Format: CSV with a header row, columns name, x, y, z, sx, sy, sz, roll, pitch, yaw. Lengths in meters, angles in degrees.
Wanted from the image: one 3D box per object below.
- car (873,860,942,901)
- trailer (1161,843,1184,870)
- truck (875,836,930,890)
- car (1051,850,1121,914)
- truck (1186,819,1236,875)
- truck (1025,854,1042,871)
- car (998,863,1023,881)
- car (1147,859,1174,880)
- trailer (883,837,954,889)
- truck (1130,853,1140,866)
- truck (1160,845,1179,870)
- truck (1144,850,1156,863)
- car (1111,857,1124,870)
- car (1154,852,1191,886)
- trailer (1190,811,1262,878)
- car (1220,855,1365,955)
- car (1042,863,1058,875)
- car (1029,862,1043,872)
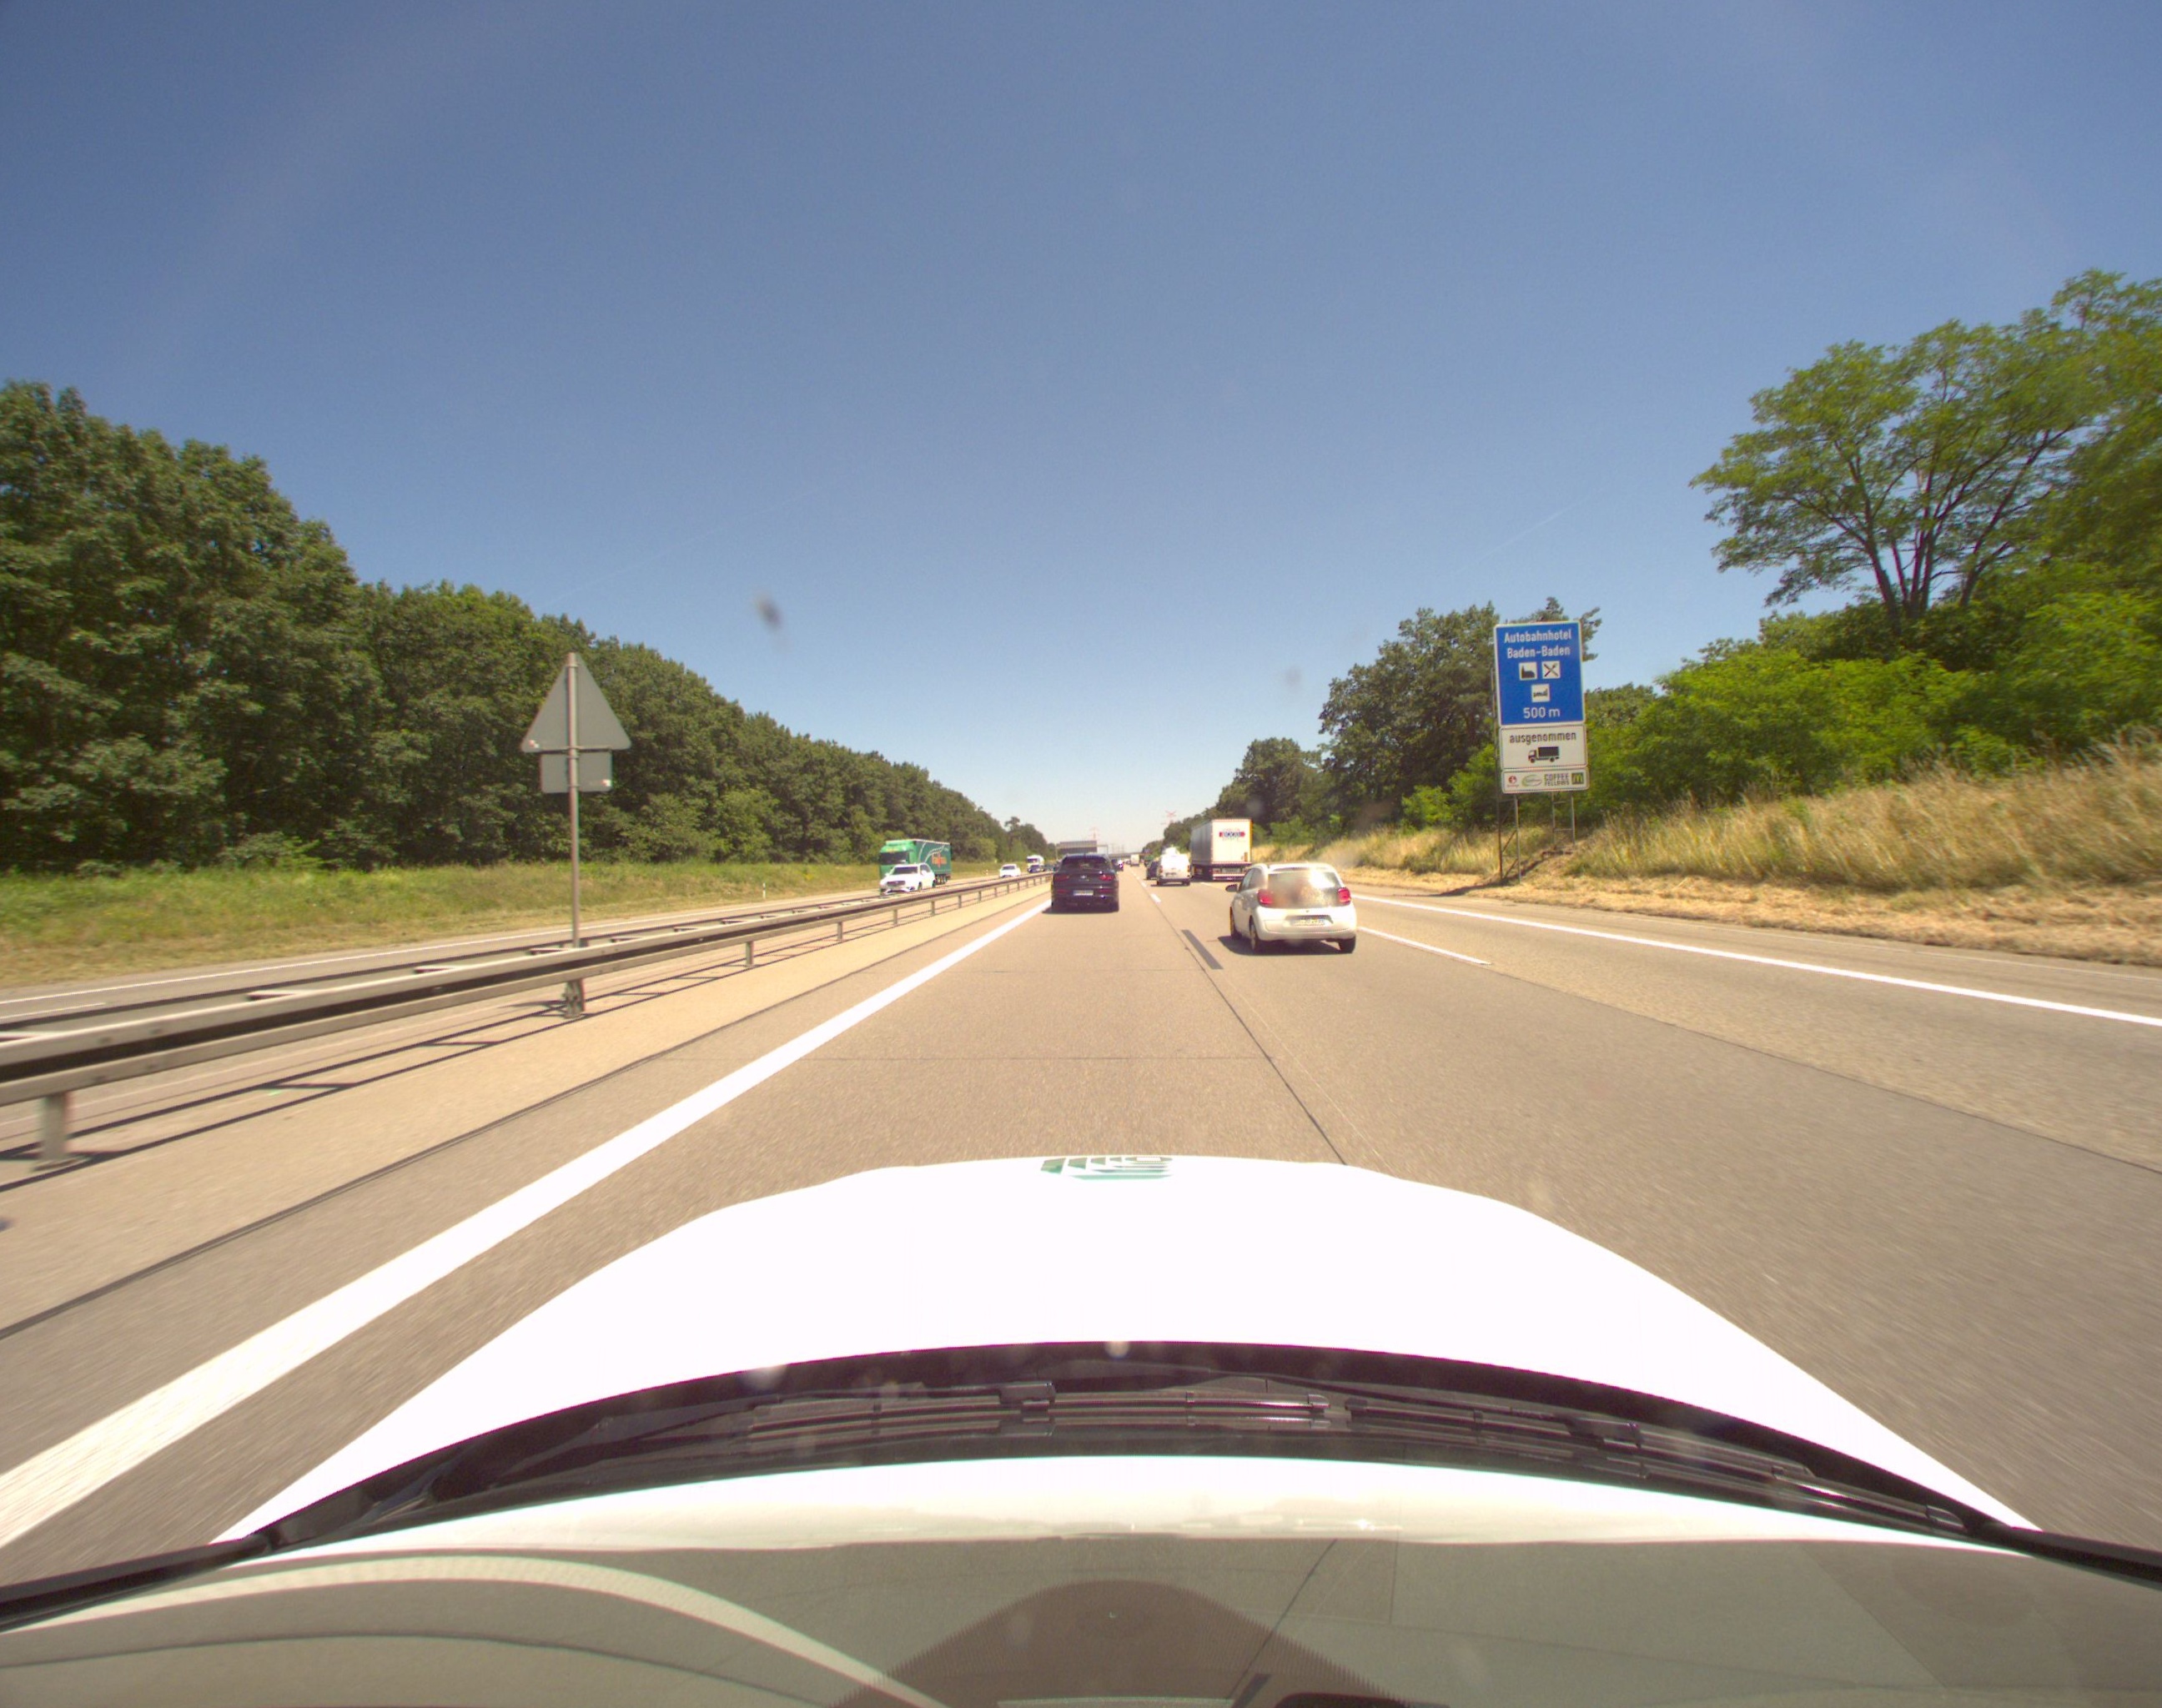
name,x,y,z,sx,sy,sz,roll,pitch,yaw
car,-8.787,1.309,41.812,1.946,1.792,5.566,-4,0,3
trailer,13.803,0.470,123.894,2.672,3.837,12.016,0,-1,2
truck,-15.001,0.767,68.766,2.690,4.161,6.300,-4,-1,3
car,0.240,0.779,25.703,1.933,1.752,5.816,-1,0,2
truck,10.266,-0.478,65.042,3.273,4.219,6.011,0,-1,2
truck,-9.812,1.724,169.443,2.671,3.434,6.148,-4,-1,3
car,-6.450,1.644,74.812,1.649,1.500,4.603,-4,-1,3
car,6.016,1.172,61.830,1.767,1.472,3.874,-2,-1,2
trailer,-14.695,0.804,75.187,2.694,4.161,14.347,-4,-1,3
truck,12.402,1.260,187.900,2.052,2.914,7.007,-2,-1,2
truck,14.055,0.534,129.578,2.672,3.837,4.446,0,-1,2
truck,19.347,0.767,229.592,2.977,3.729,10.095,0,-1,2
car,5.000,1.255,111.490,1.620,1.755,3.807,-1,0,3
car,5.319,0.854,47.838,1.807,1.827,5.113,-2,-1,2
trailer,9.957,-0.522,57.693,3.273,4.219,13.572,0,-1,2
car,3.573,0.790,14.447,1.701,1.495,4.026,-1,0,3
car,-4.277,2.060,113.187,1.702,1.410,5.087,-4,-1,3
car,-7.471,2.154,134.694,1.667,1.443,5.139,-4,-1,3
